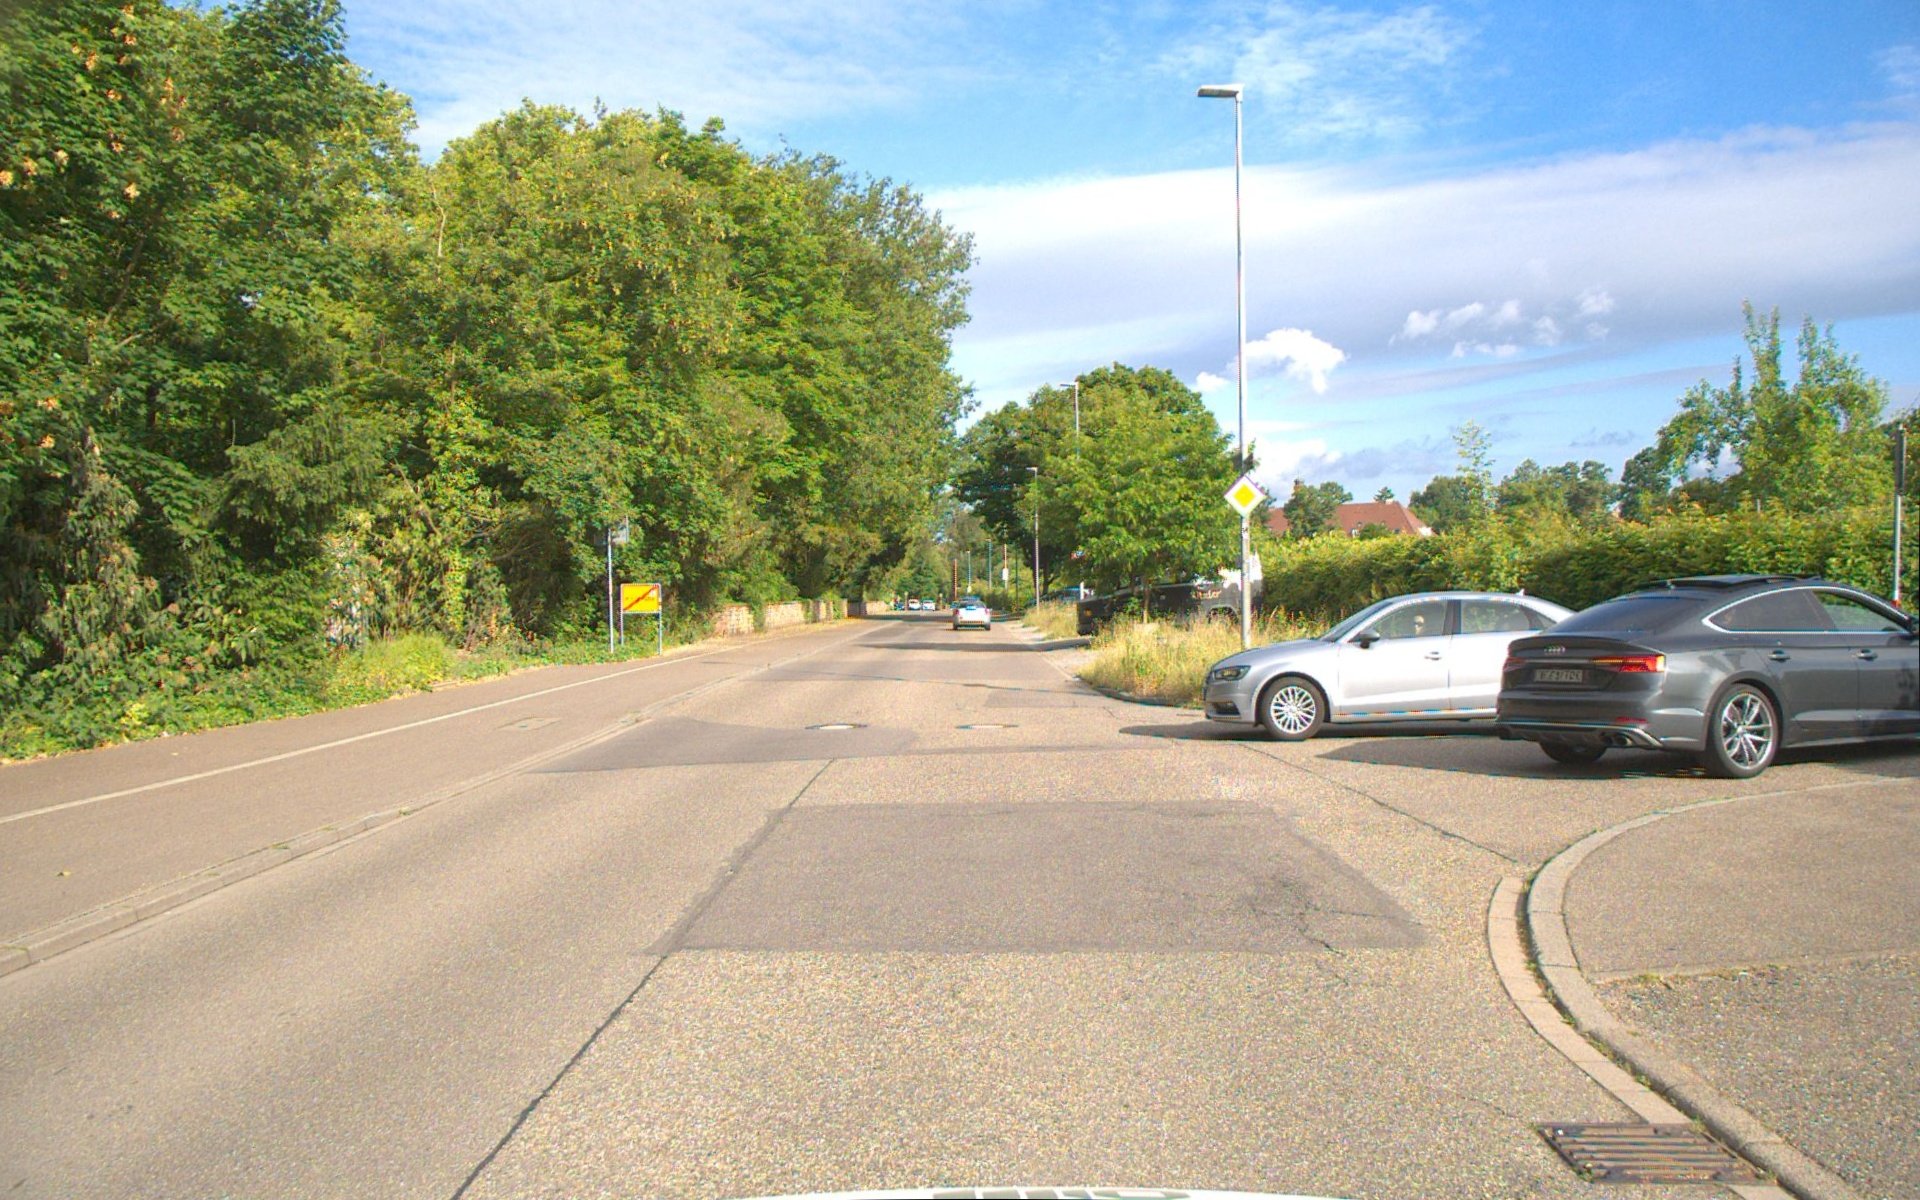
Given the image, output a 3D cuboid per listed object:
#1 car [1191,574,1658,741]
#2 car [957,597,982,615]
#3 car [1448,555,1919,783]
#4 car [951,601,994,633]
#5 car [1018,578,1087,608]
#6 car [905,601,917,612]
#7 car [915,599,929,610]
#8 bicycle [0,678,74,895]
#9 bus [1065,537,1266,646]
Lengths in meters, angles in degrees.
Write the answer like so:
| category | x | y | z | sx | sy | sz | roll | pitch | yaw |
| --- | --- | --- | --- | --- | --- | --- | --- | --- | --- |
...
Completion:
| category | x | y | z | sx | sy | sz | roll | pitch | yaw |
| --- | --- | --- | --- | --- | --- | --- | --- | --- | --- |
| car | 4.537 | 0.564 | 16.769 | 4.269 | 1.468 | 1.934 | -2 | -1 | 6 |
| car | 0.738 | 0.465 | 128.259 | 1.848 | 1.396 | 4.054 | -1 | 0 | -1 |
| car | 6.161 | 0.428 | 12.894 | 4.265 | 1.459 | 1.958 | -2 | 0 | -24 |
| car | 0.523 | 0.745 | 74.526 | 1.848 | 1.396 | 4.054 | -1 | 0 | -1 |
| car | 6.035 | -0.480 | 108.211 | 4.313 | 1.675 | 2.000 | -4 | 0 | 1 |
| car | -7.594 | 0.955 | 258.158 | 1.848 | 1.641 | 4.054 | -1 | 0 | -1 |
| car | -5.188 | 0.622 | 227.858 | 1.848 | 1.396 | 4.052 | -1 | 0 | -2 |
| bicycle | -5.457 | 1.017 | 8.365 | 0.649 | 1.116 | 2.349 | 1 | 0 | 1 |
| bus | 5.721 | -0.258 | 46.476 | 5.258 | 2.794 | 2.067 | -2 | 1 | -3 |
